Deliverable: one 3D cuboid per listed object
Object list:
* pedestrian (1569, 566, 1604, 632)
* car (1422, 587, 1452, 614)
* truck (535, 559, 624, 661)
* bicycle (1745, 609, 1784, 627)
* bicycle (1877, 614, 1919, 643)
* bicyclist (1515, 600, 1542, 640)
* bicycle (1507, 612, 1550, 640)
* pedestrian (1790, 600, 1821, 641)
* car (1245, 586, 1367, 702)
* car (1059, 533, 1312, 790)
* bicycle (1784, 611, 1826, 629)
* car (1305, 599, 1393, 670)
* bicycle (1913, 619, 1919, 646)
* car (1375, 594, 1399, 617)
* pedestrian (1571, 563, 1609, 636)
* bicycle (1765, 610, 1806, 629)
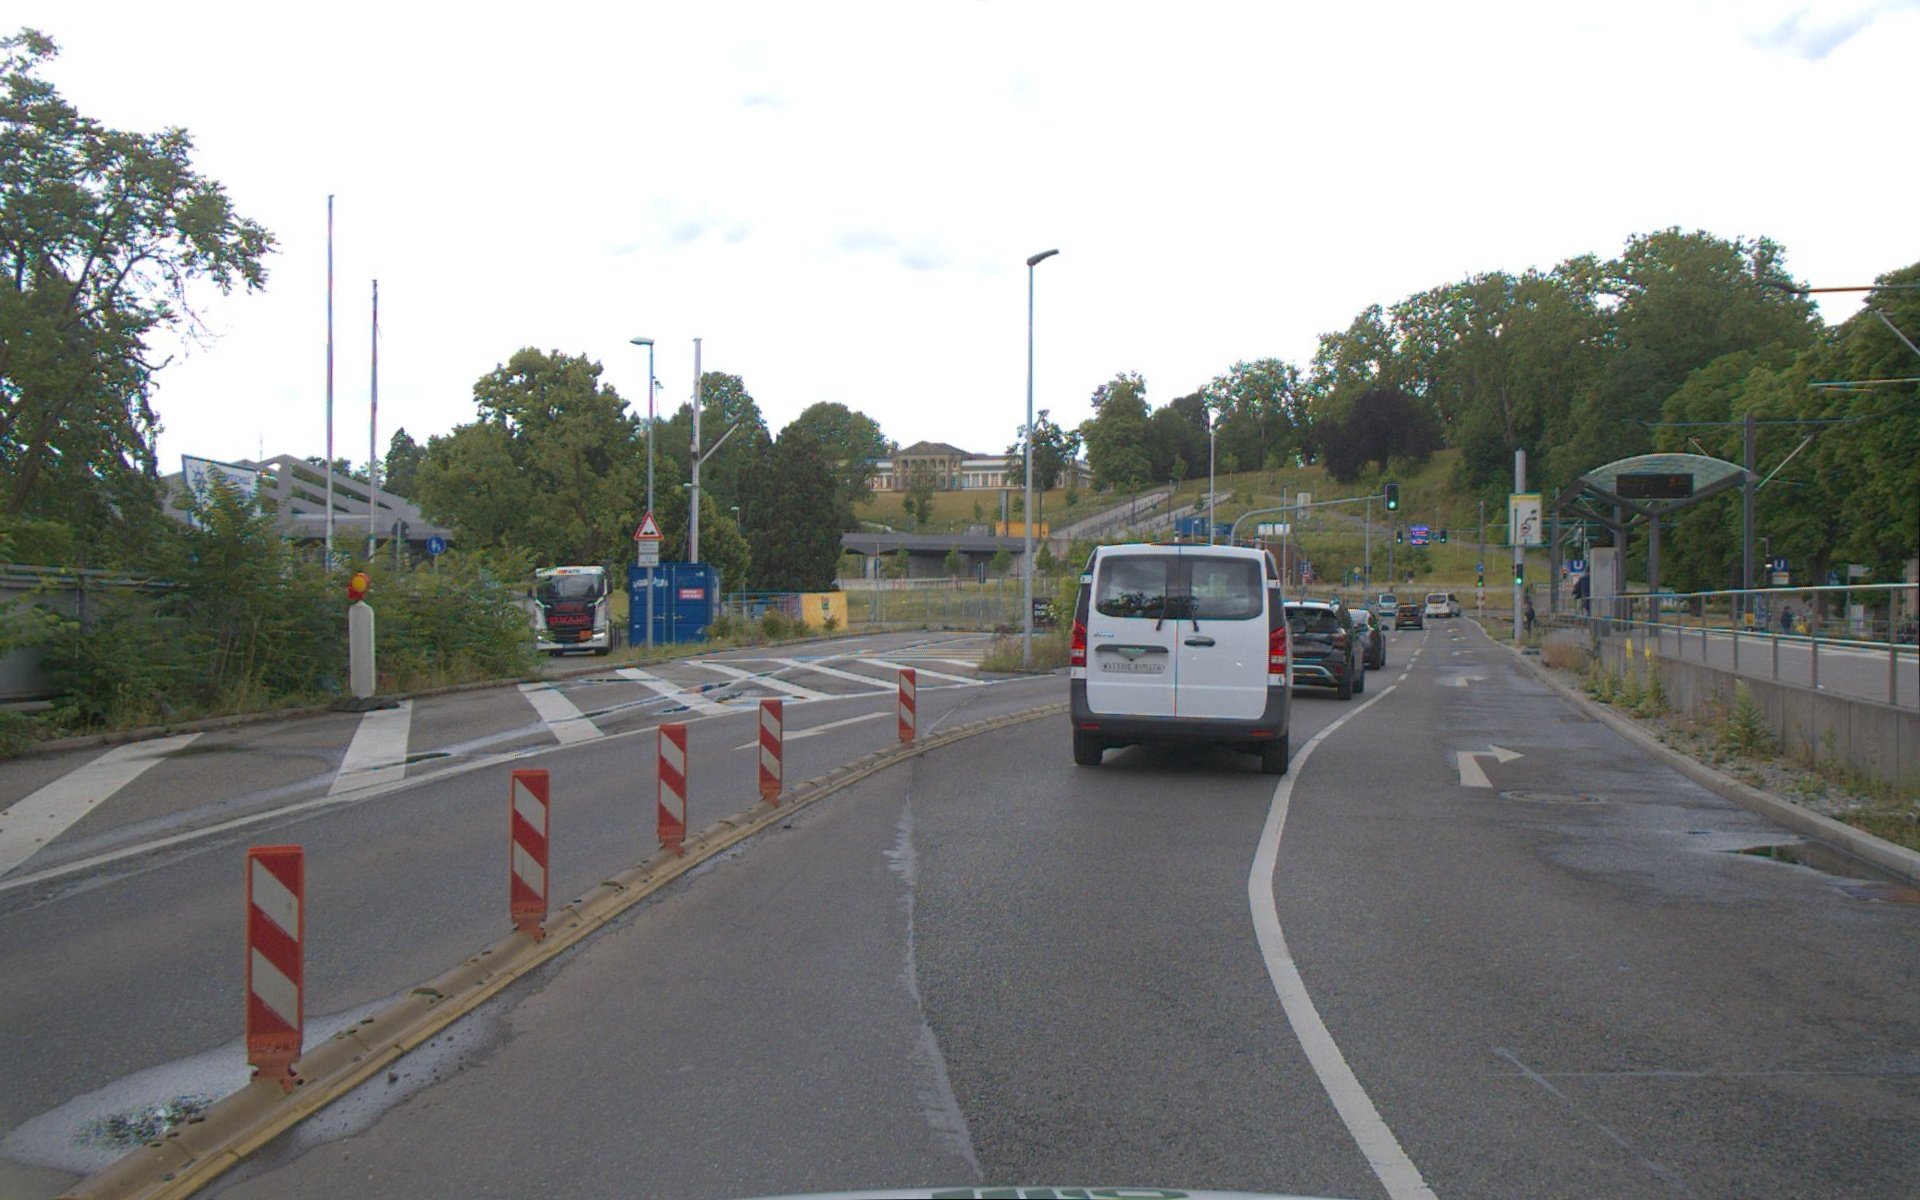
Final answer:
[{"bbox_3d":[15.536,-0.027,41.027,0.735,1.580,0.775,2,2,18],"label":"pedestrian"},{"bbox_3d":[37.251,0.048,129.351,2.154,2.049,5.154,1,0,16],"label":"car"},{"bbox_3d":[-13.808,0.309,60.528,2.742,3.394,8.457,-1,1,-10],"label":"truck"},{"bbox_3d":[44.779,0.995,92.101,1.872,0.992,0.531,-1,0,18],"label":"bicycle"},{"bbox_3d":[36.900,1.131,64.674,1.727,1.051,0.484,3,0,18],"label":"bicycle"},{"bbox_3d":[22.885,0.804,66.596,0.792,1.599,0.614,0,1,-23],"label":"bicyclist"},{"bbox_3d":[22.896,1.048,66.612,1.656,1.093,0.616,0,1,-23],"label":"bicycle"},{"bbox_3d":[34.534,0.825,67.570,0.816,1.637,0.777,0,-1,-5],"label":"pedestrian"},{"bbox_3d":[5.924,0.697,28.010,1.799,1.759,4.065,2,0,14],"label":"car"},{"bbox_3d":[2.180,0.475,15.203,1.917,1.937,4.465,2,0,11],"label":"car"},{"bbox_3d":[43.041,1.016,84.256,1.872,0.911,0.531,-1,0,18],"label":"bicycle"},{"bbox_3d":[9.750,0.823,41.251,1.800,1.610,4.064,2,0,18],"label":"car"},{"bbox_3d":[35.666,1.209,59.955,1.834,0.980,0.533,3,0,18],"label":"bicycle"},{"bbox_3d":[35.686,0.448,138.312,1.715,1.802,4.003,3,0,12],"label":"car"},{"bbox_3d":[15.329,-0.014,40.262,0.754,1.729,0.732,2,2,18],"label":"pedestrian"},{"bbox_3d":[43.740,1.025,87.645,1.872,0.992,0.531,-1,0,18],"label":"bicycle"}]
